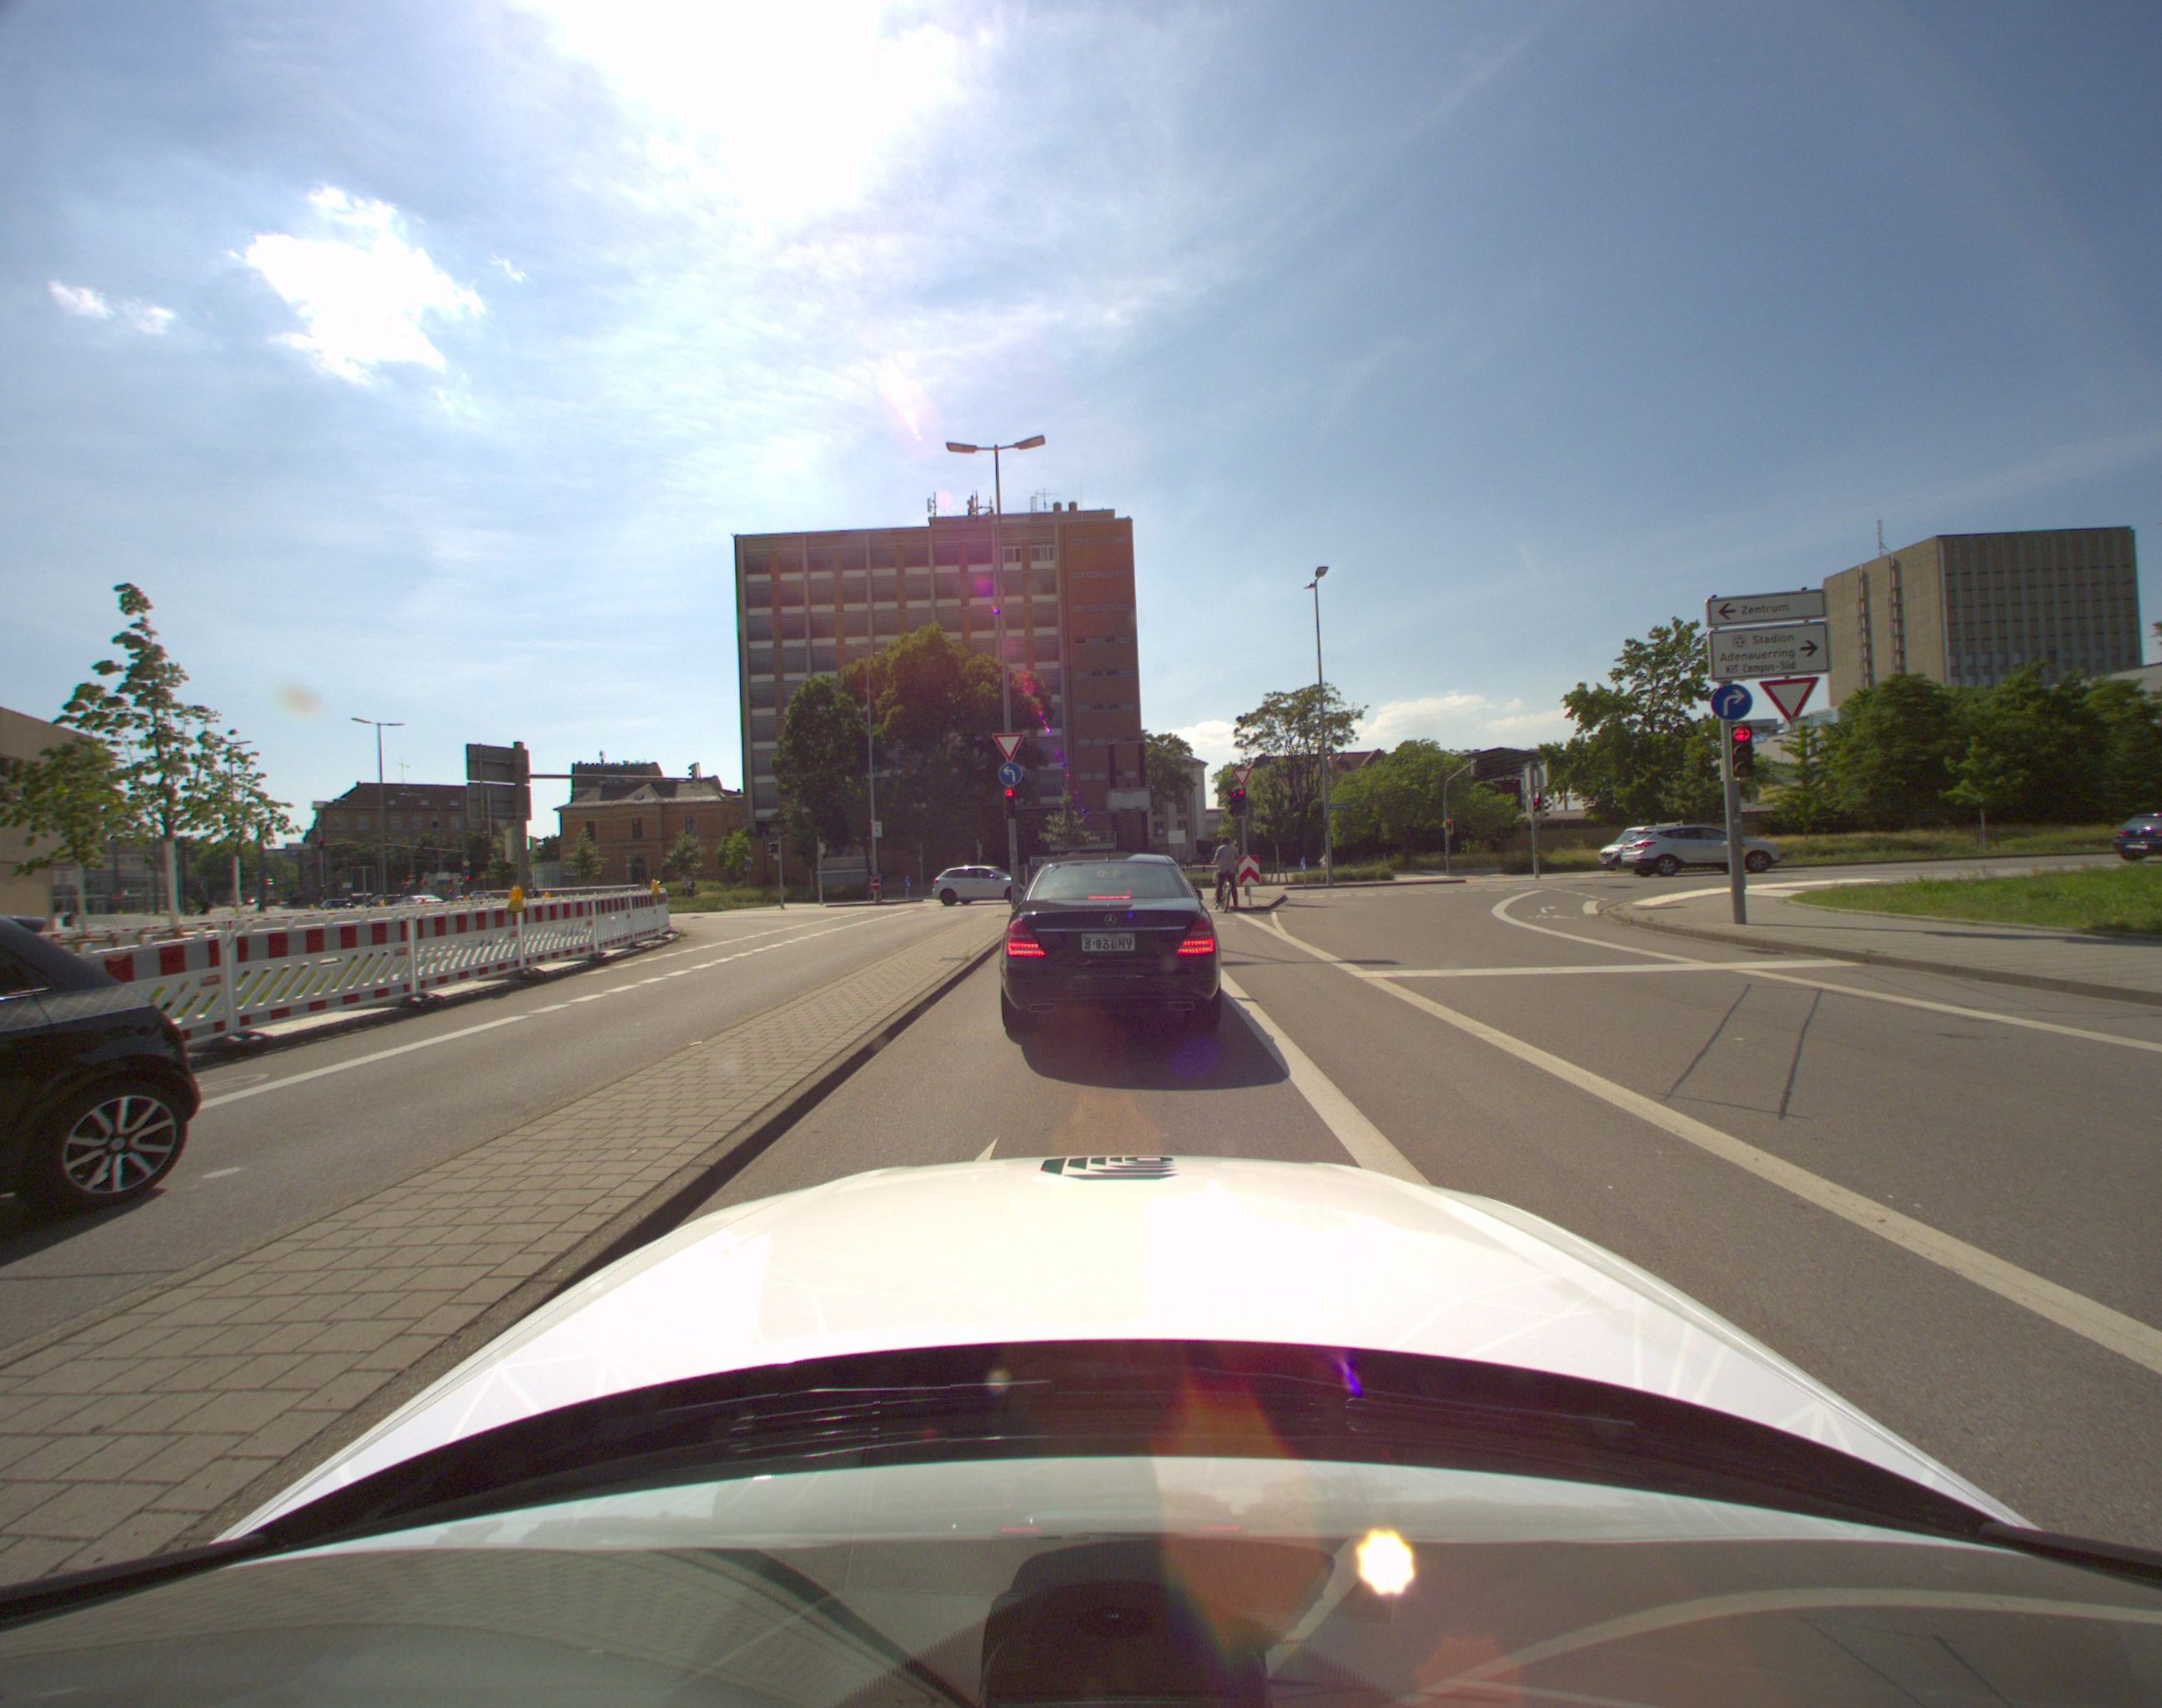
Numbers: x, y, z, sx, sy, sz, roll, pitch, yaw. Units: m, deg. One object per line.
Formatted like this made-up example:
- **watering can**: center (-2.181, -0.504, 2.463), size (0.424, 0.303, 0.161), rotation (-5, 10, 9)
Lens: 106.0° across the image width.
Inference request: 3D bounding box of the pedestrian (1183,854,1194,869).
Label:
- **pedestrian**: center (8.452, 0.584, 64.091), size (0.788, 1.214, 0.759), rotation (-1, -1, 8)

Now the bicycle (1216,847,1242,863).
- **bicycle**: center (17.029, 0.092, 93.569), size (2.813, 1.744, 0.842), rotation (-3, 0, 1)

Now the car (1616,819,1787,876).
- **car**: center (20.673, -0.193, 27.315), size (4.174, 1.618, 1.718), rotation (-3, 0, 13)

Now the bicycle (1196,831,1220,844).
- **bicycle**: center (15.945, -2.056, 102.318), size (2.813, 1.559, 0.842), rotation (-3, 0, 1)

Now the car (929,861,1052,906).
- **car**: center (-3.326, 1.086, 30.015), size (4.127, 1.420, 1.591), rotation (-3, 0, 16)

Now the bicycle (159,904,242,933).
- **bicycle**: center (-62.220, 4.540, 57.600), size (1.479, 1.779, 3.769), rotation (-1, -1, 30)

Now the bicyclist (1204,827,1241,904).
- **bicyclist**: center (3.579, 0.290, 20.643), size (0.684, 1.878, 0.858), rotation (-1, -1, -5)

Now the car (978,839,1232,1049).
- **car**: center (0.336, 0.683, 8.353), size (1.850, 1.530, 4.719), rotation (-1, -1, 4)

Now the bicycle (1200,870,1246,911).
- **bicycle**: center (3.589, 0.901, 20.667), size (0.691, 0.946, 1.955), rotation (0, -1, -4)

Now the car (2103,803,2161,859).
- **car**: center (33.014, -0.772, 23.785), size (3.966, 1.590, 1.587), rotation (-3, 0, 6)

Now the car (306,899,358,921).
- **car**: center (-55.566, 4.163, 60.418), size (3.948, 1.510, 1.811), rotation (-3, -1, 32)

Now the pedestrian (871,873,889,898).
- **pedestrian**: center (-14.183, 2.214, 57.460), size (0.790, 1.725, 0.878), rotation (-3, -1, 24)

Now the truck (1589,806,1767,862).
- **truck**: center (29.825, -0.982, 40.884), size (6.997, 2.355, 2.415), rotation (-3, 0, 2)

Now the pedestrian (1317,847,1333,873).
- **pedestrian**: center (15.277, 0.377, 50.998), size (0.807, 1.579, 0.693), rotation (-3, -1, 3)

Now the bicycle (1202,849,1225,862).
- **bicycle**: center (16.962, 0.238, 104.340), size (2.813, 1.500, 0.842), rotation (-3, 0, 1)

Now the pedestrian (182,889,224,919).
- **pedestrian**: center (-62.210, 3.493, 57.706), size (1.508, 2.014, 1.662), rotation (-1, -1, 29)

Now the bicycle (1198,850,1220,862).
- **bicycle**: center (16.688, 0.275, 106.236), size (2.812, 1.480, 0.842), rotation (-3, 0, 2)

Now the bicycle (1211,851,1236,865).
- **bicycle**: center (17.217, 0.448, 98.150), size (2.813, 1.537, 0.842), rotation (-3, 0, 1)

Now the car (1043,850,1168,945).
- **car**: center (0.456, 0.706, 15.003), size (1.986, 1.508, 4.001), rotation (0, -1, 2)

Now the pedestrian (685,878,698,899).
- **pedestrian**: center (-31.416, 2.779, 65.653), size (0.642, 1.661, 0.654), rotation (-1, -1, 28)

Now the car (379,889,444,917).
- **car**: center (-48.123, 3.509, 58.556), size (3.951, 1.816, 2.011), rotation (-3, -1, 24)

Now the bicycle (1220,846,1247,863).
- **bicycle**: center (17.100, 0.046, 91.307), size (2.813, 1.836, 0.842), rotation (-3, 0, 1)

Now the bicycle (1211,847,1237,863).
- **bicycle**: center (16.869, 0.129, 96.121), size (2.813, 1.659, 0.842), rotation (-3, 1, 1)

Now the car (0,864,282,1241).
- **car**: center (-5.432, 0.898, 2.783), size (1.655, 1.574, 3.634), rotation (-4, 0, 2)
